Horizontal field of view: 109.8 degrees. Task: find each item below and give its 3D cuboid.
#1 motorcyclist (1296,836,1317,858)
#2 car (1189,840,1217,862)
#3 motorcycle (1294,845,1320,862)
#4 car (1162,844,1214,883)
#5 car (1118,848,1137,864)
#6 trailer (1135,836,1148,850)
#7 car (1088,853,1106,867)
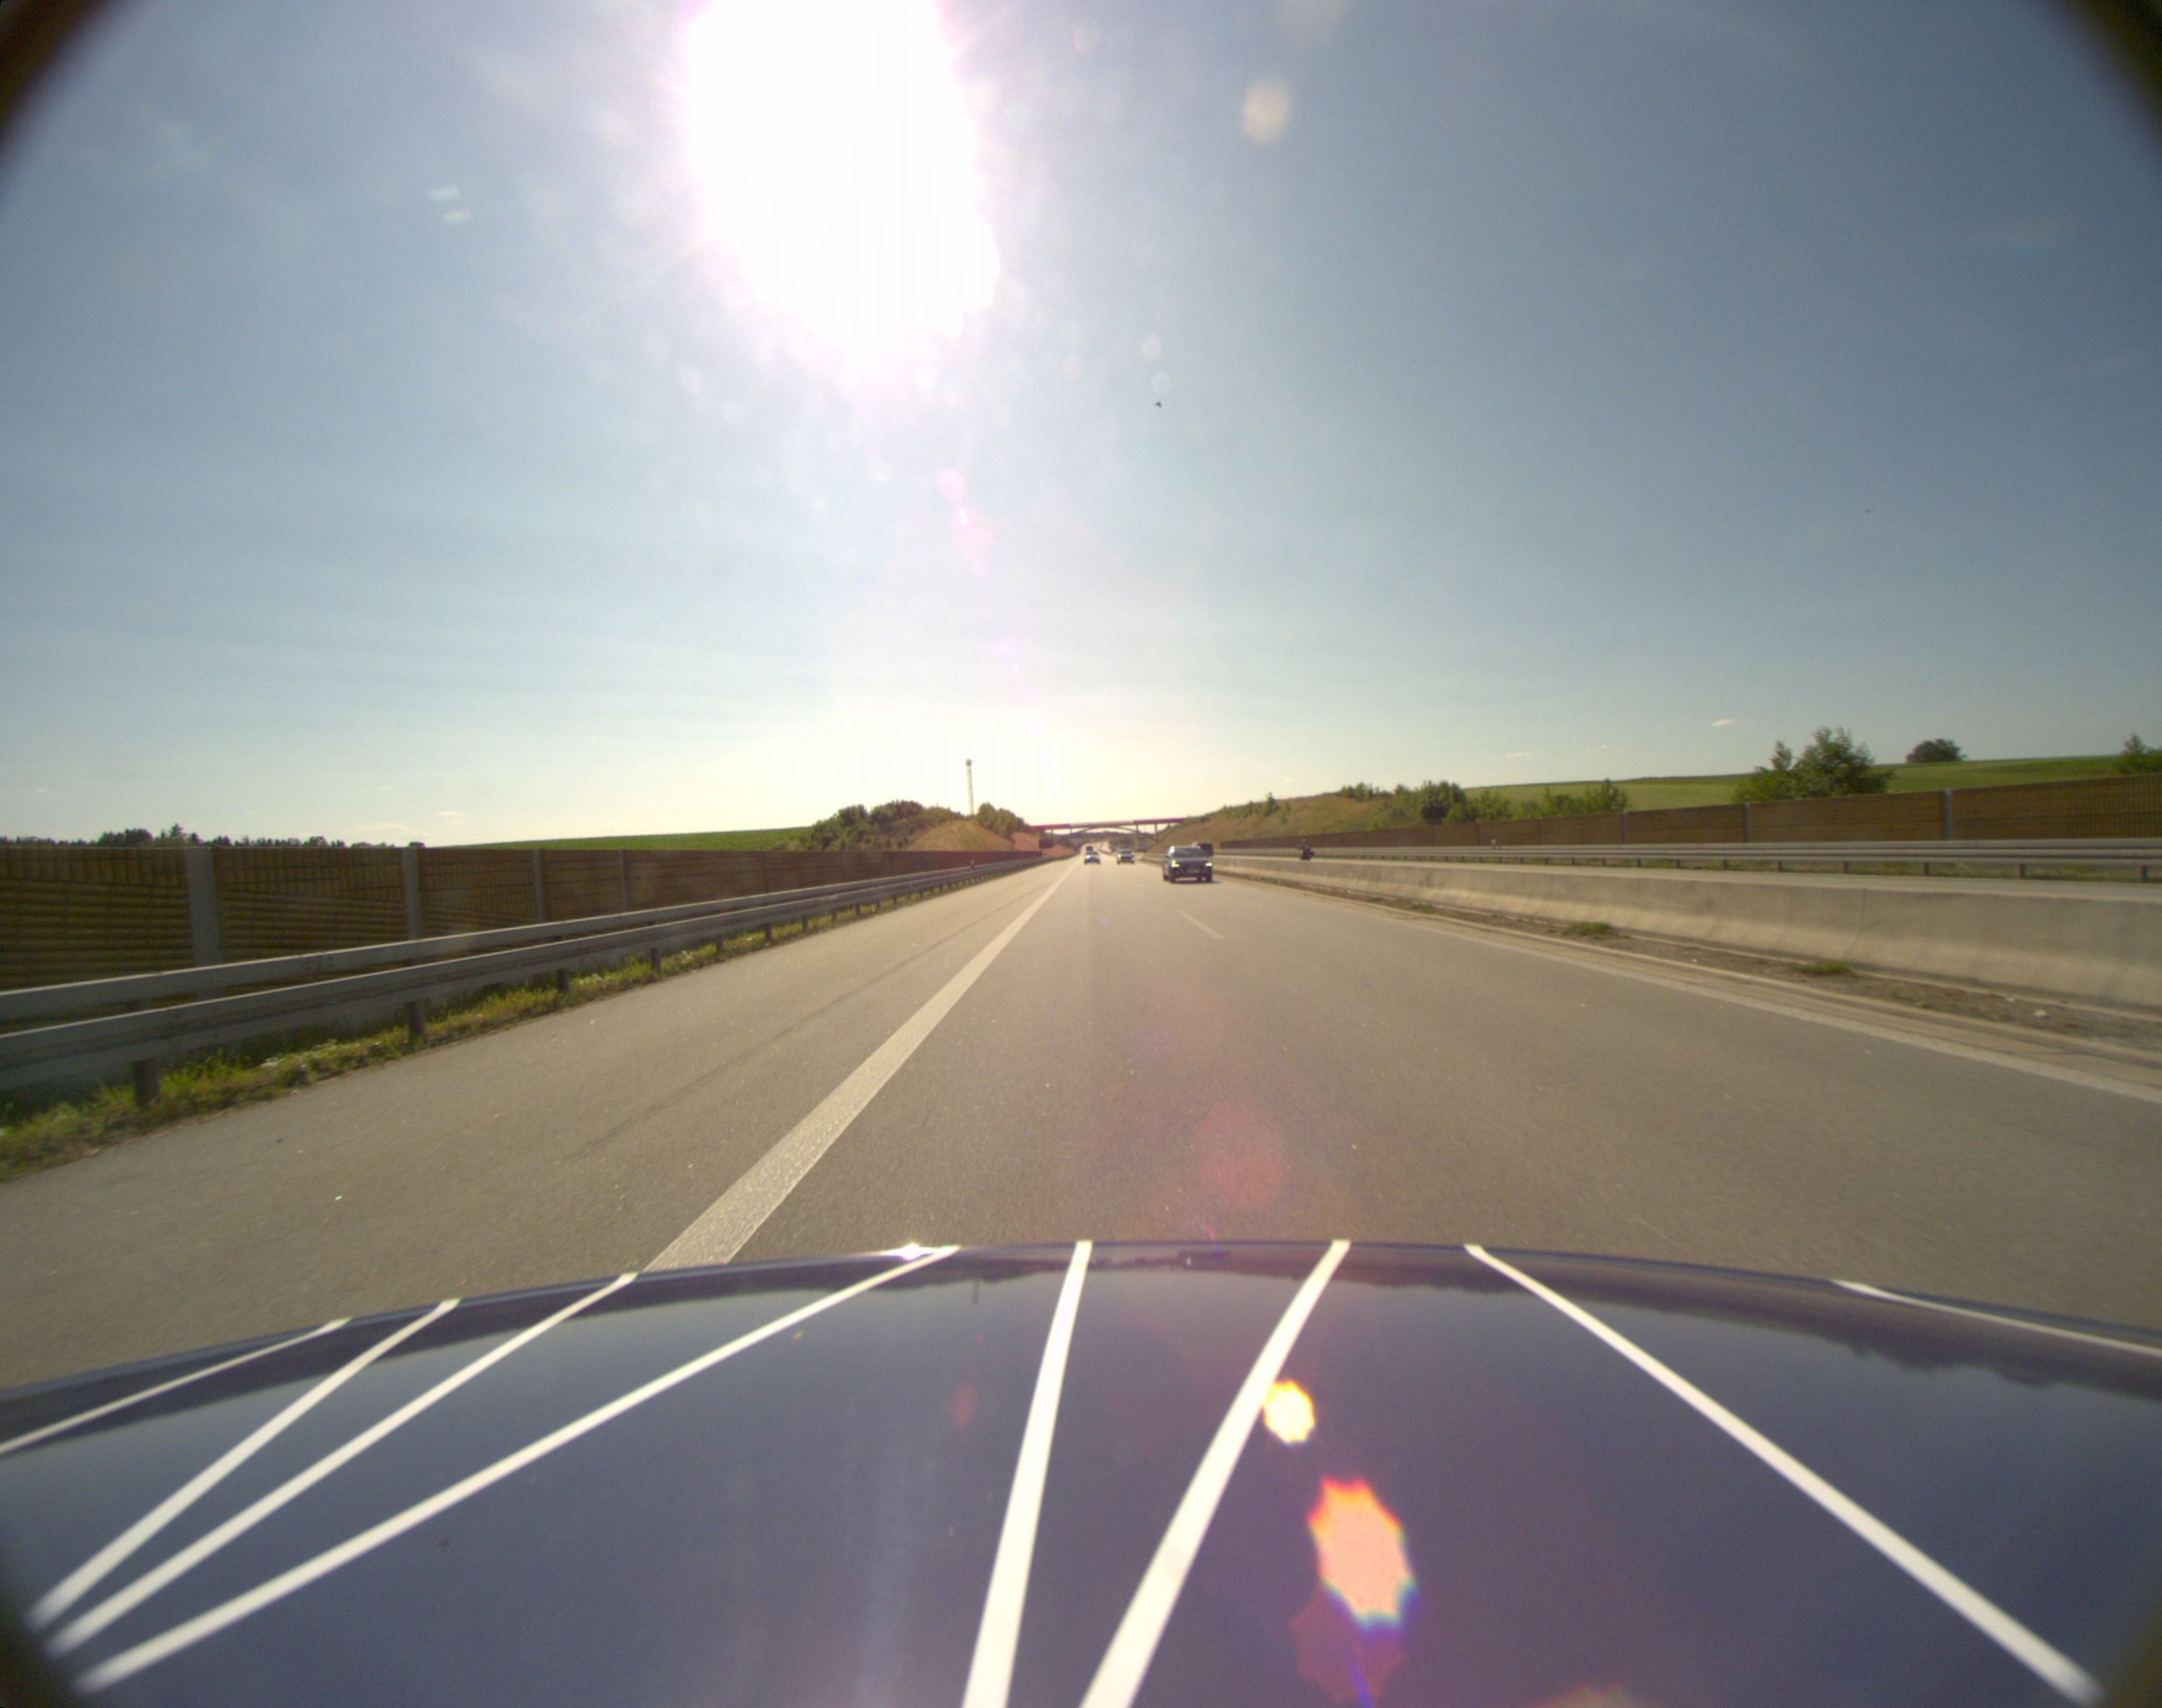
[{"bbox_3d":[15.878,-0.501,53.607,1.015,1.555,1.428,-2,1,1],"label":"motorcyclist"},{"bbox_3d":[12.232,-0.346,76.498,1.998,2.002,5.736,-2,1,1],"label":"car"},{"bbox_3d":[15.896,-0.039,53.597,1.016,1.160,2.868,-2,1,1],"label":"motorcycle"},{"bbox_3d":[4.795,0.380,34.707,1.726,1.578,5.221,-2,1,1],"label":"car"},{"bbox_3d":[5.052,0.194,82.406,1.776,1.560,4.988,-2,1,1],"label":"car"},{"bbox_3d":[17.725,-3.106,222.763,2.645,3.853,13.732,-2,1,0],"label":"trailer"},{"bbox_3d":[1.781,0.642,84.702,1.909,1.449,4.375,-2,1,2],"label":"car"}]
